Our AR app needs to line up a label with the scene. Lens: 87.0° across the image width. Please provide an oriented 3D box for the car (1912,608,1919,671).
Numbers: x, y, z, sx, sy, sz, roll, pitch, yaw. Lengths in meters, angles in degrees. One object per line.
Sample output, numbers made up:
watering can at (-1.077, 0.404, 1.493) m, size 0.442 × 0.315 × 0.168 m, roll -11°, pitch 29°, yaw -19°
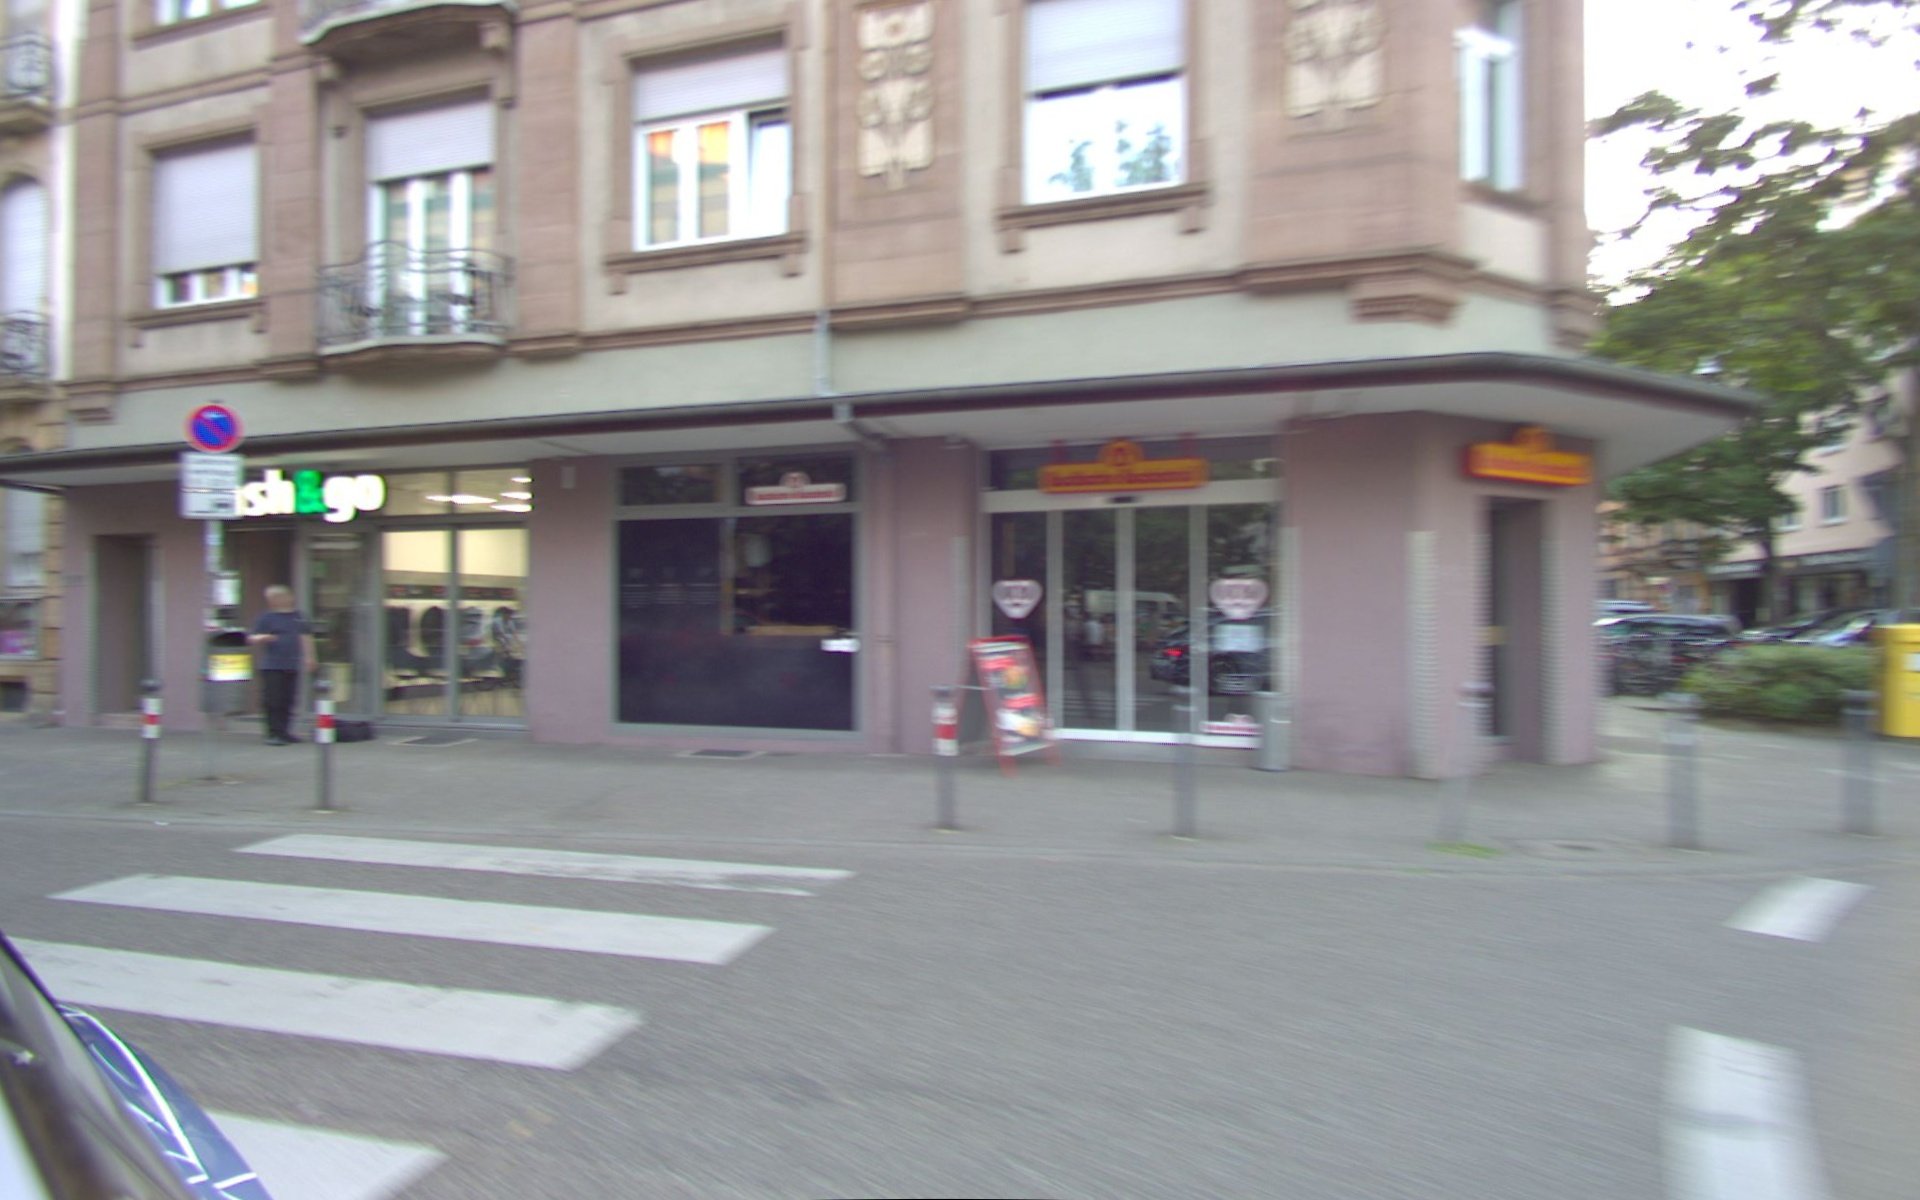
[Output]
car at (26.025, 0.996, 24.079) m, size 4.456 × 1.590 × 1.990 m, roll 0°, pitch 0°, yaw 16°

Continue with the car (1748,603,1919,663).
car at (28.461, 1.020, 32.569) m, size 4.456 × 1.812 × 1.990 m, roll 0°, pitch 0°, yaw 16°

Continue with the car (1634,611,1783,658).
car at (30.613, 1.391, 41.563) m, size 4.456 × 1.812 × 1.990 m, roll 0°, pitch 0°, yaw 16°

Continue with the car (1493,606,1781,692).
car at (13.586, 0.932, 20.655) m, size 4.456 × 1.590 × 1.990 m, roll 0°, pitch 0°, yaw 16°

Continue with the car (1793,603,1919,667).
car at (27.774, 0.999, 29.870) m, size 4.456 × 1.812 × 1.990 m, roll 0°, pitch 0°, yaw 16°

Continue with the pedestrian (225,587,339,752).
pedestrian at (-7.232, 0.710, 10.810) m, size 0.730 × 1.690 × 0.707 m, roll -1°, pitch 0°, yaw 19°

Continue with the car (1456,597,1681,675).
car at (15.149, 0.849, 25.488) m, size 4.456 × 1.844 × 1.990 m, roll 0°, pitch 0°, yaw 16°

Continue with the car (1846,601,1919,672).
car at (26.625, 0.939, 26.674) m, size 4.456 × 1.812 × 1.990 m, roll 0°, pitch 0°, yaw 16°
